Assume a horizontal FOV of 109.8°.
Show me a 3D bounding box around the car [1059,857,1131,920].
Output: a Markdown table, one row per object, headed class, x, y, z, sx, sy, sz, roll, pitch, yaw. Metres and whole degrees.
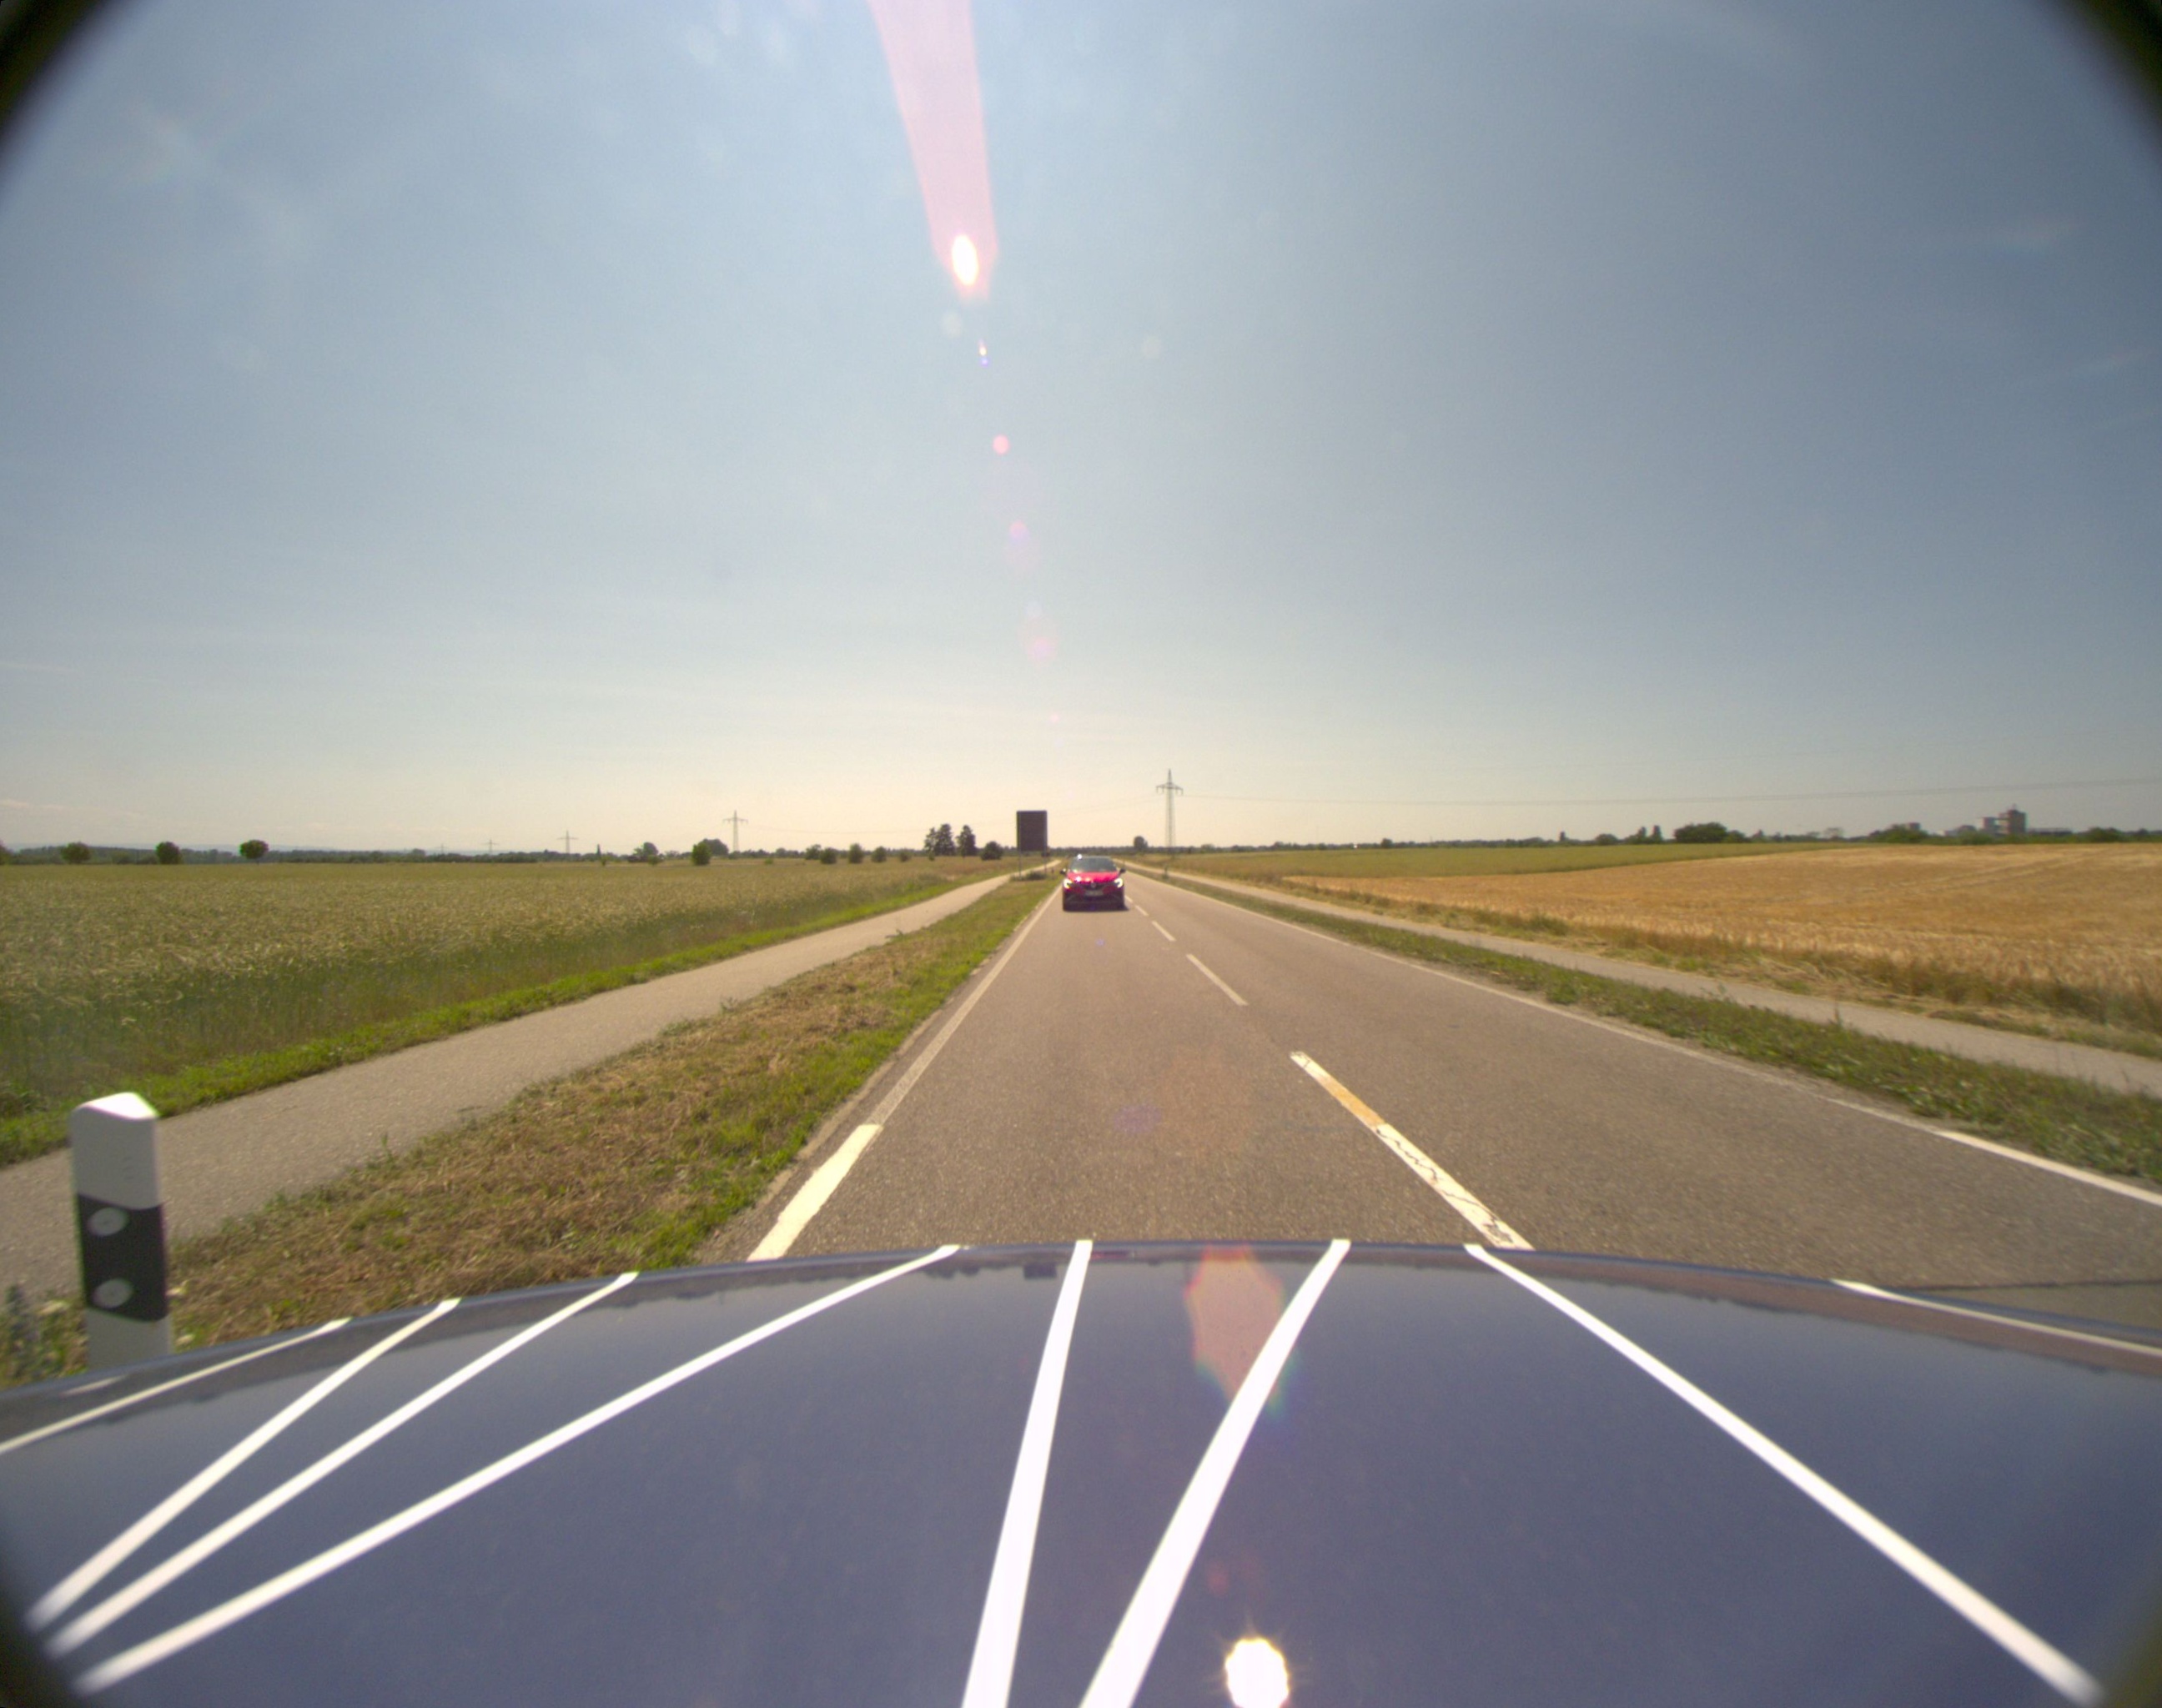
| class | x | y | z | sx | sy | sz | roll | pitch | yaw |
| --- | --- | --- | --- | --- | --- | --- | --- | --- | --- |
| car | 0.318 | 0.900 | 21.842 | 1.827 | 1.543 | 4.448 | -2 | 0 | -1 |
